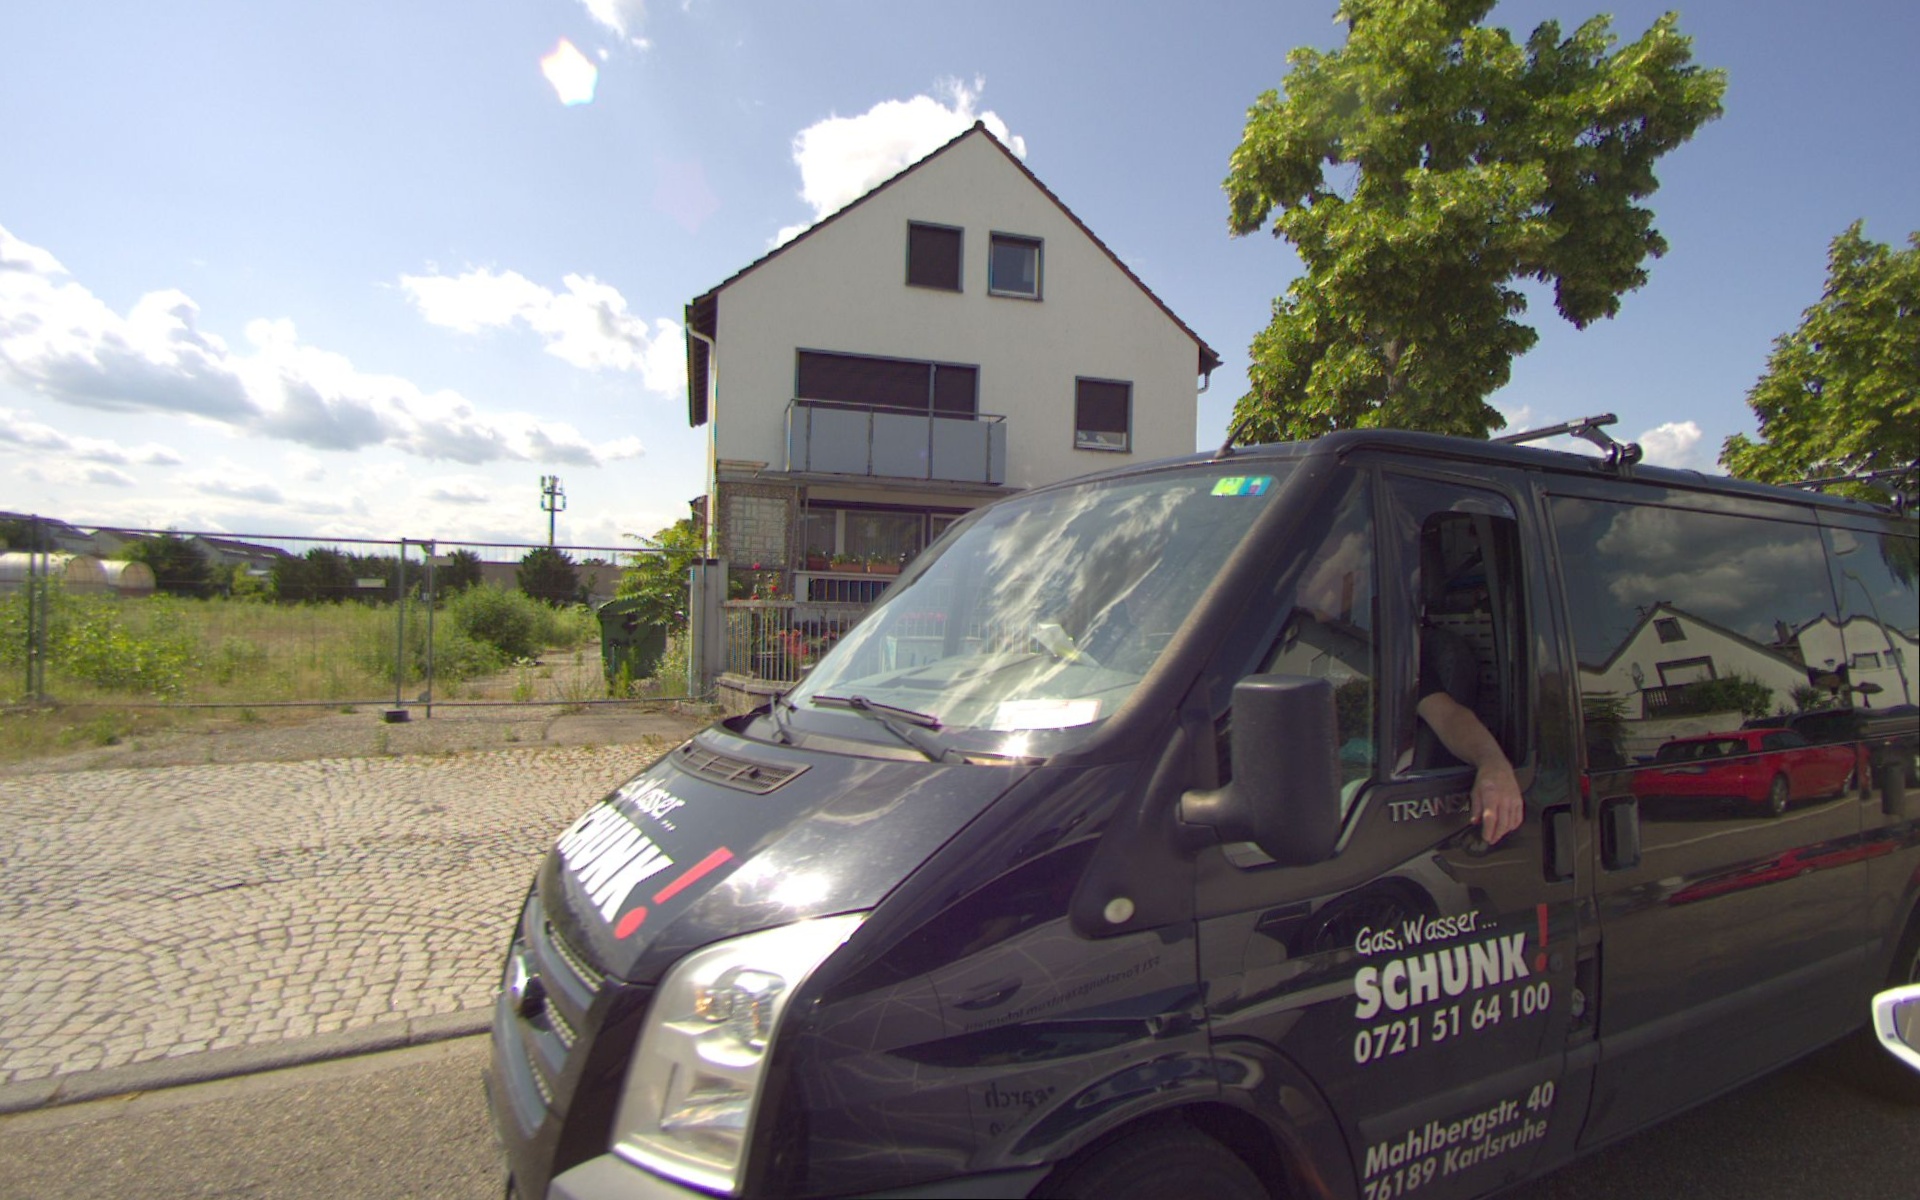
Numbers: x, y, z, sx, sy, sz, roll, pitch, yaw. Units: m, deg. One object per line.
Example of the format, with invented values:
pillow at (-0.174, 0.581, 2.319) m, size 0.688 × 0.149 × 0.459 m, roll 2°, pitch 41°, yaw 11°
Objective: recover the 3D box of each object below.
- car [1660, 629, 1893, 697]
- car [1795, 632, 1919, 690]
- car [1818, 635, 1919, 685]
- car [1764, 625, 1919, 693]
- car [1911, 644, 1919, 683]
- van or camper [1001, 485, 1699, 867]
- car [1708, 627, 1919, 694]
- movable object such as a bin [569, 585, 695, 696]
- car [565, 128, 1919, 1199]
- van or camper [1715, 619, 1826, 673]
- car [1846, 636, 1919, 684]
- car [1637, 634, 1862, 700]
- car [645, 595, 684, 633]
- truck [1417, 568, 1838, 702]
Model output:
car at (21.571, 1.600, 26.771) m, size 1.804 × 1.603 × 4.509 m, roll 1°, pitch -1°, yaw -27°
car at (28.236, 1.856, 30.463) m, size 1.804 × 1.640 × 4.130 m, roll 3°, pitch -2°, yaw -26°
car at (30.092, 1.920, 31.768) m, size 1.804 × 1.449 × 4.130 m, roll 3°, pitch -2°, yaw -26°
car at (26.134, 1.675, 29.071) m, size 1.804 × 1.811 × 4.130 m, roll 3°, pitch -2°, yaw -26°
car at (36.347, 2.341, 35.175) m, size 1.802 × 1.392 × 4.015 m, roll 2°, pitch 0°, yaw -24°
van or camper at (3.414, 0.521, 8.399) m, size 5.859 × 2.348 × 1.985 m, roll 2°, pitch 2°, yaw -28°
car at (23.675, 1.615, 27.922) m, size 1.806 × 1.636 × 4.274 m, roll 1°, pitch -1°, yaw -30°
movable object such as a bin at (-4.868, 0.575, 15.072) m, size 1.575 × 1.451 × 1.310 m, roll -5°, pitch 1°, yaw -13°
car at (1.539, 0.560, 3.393) m, size 5.082 × 2.061 × 2.041 m, roll 2°, pitch -3°, yaw -30°
van or camper at (39.862, 2.238, 49.391) m, size 5.283 × 2.508 × 1.989 m, roll 1°, pitch 0°, yaw -22°
car at (32.051, 2.000, 32.927) m, size 1.804 × 1.509 × 4.130 m, roll 3°, pitch -2°, yaw -26°
car at (19.762, 1.617, 25.359) m, size 1.657 × 1.478 × 4.182 m, roll 1°, pitch -2°, yaw -27°
car at (-16.815, 0.810, 57.200) m, size 1.967 × 2.040 × 3.986 m, roll 2°, pitch -1°, yaw -16°
truck at (16.795, 0.846, 26.405) m, size 2.683 × 2.894 × 9.232 m, roll 1°, pitch -1°, yaw -25°
